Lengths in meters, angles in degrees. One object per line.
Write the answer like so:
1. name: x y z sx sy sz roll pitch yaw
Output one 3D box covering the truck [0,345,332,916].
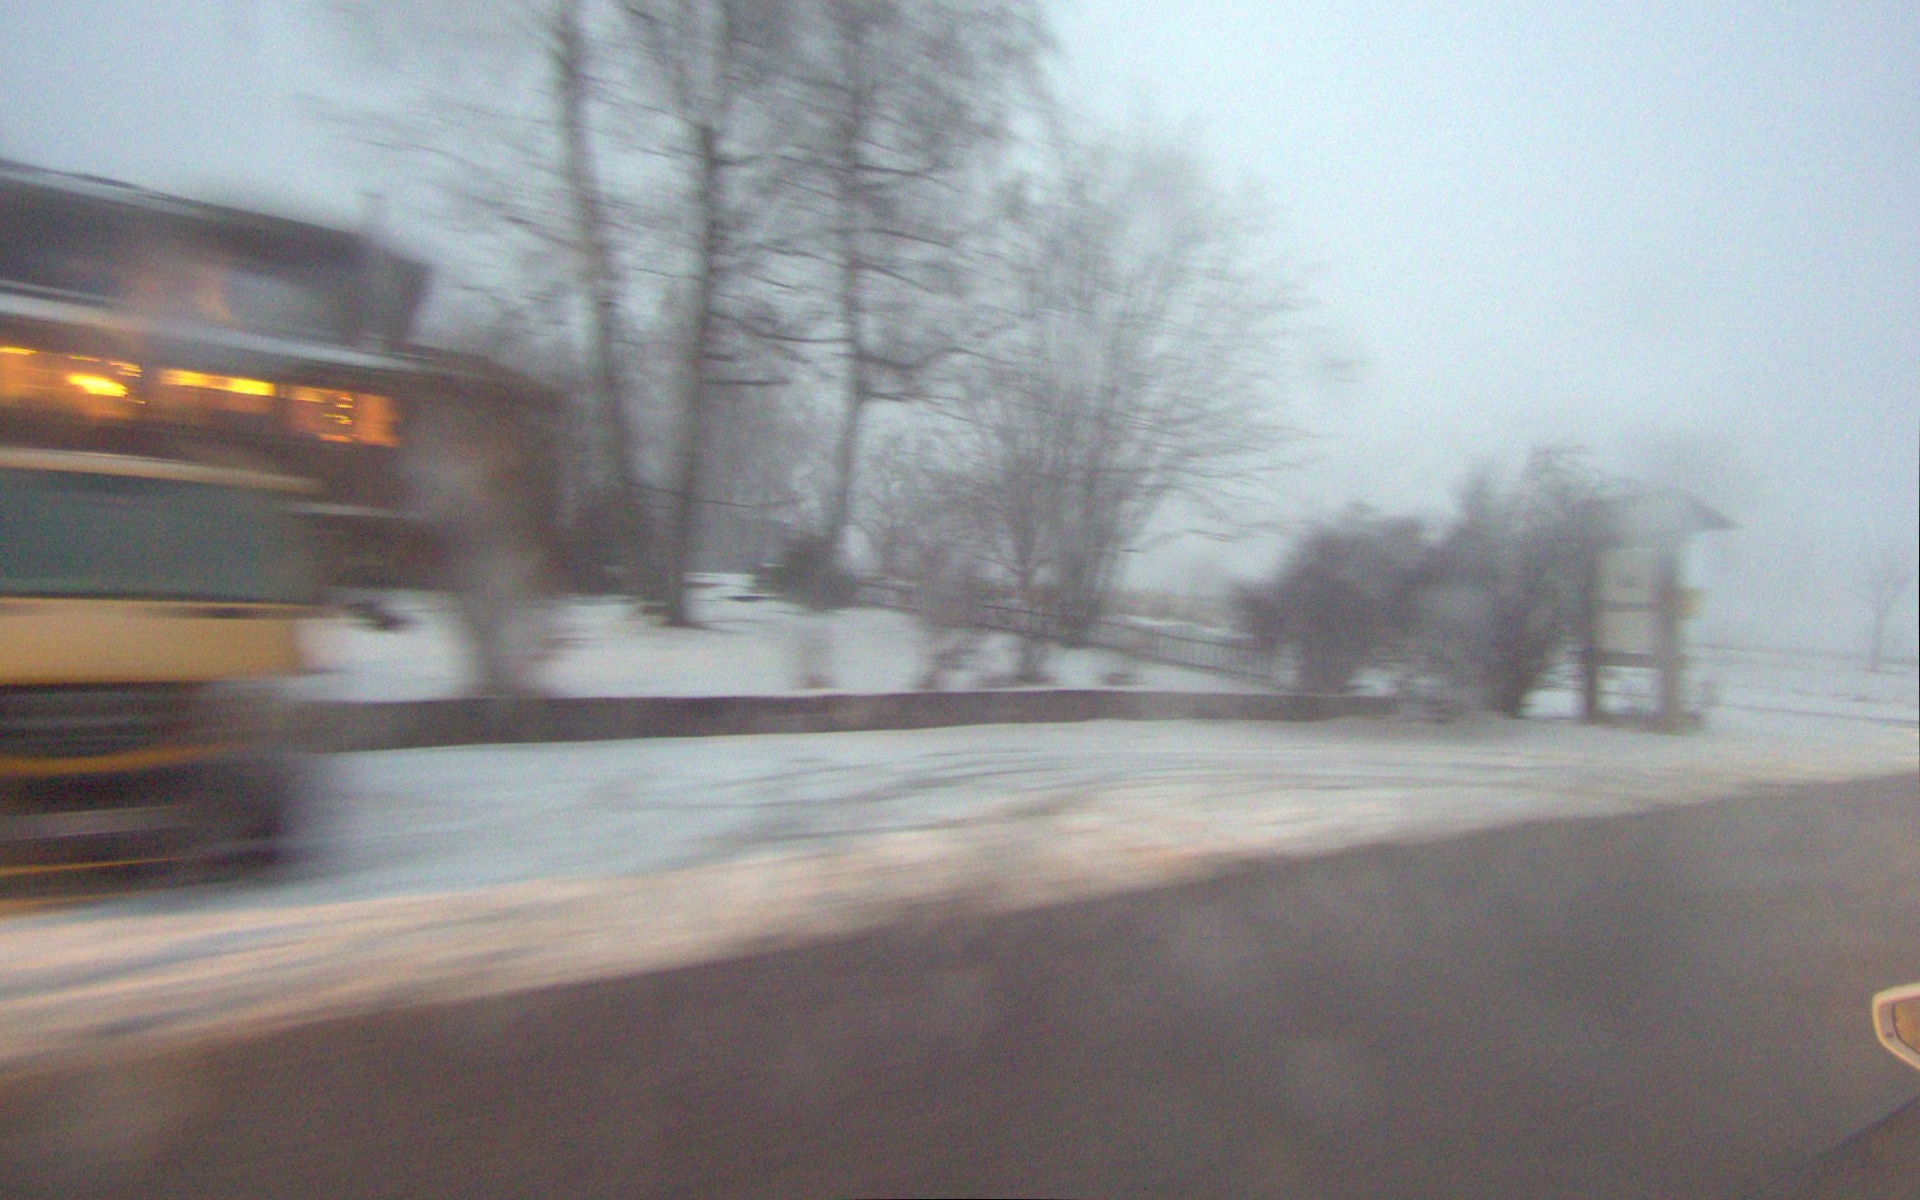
1. truck: -5.396 0.199 6.261 1.982 2.333 5.221 0 -2 -38
